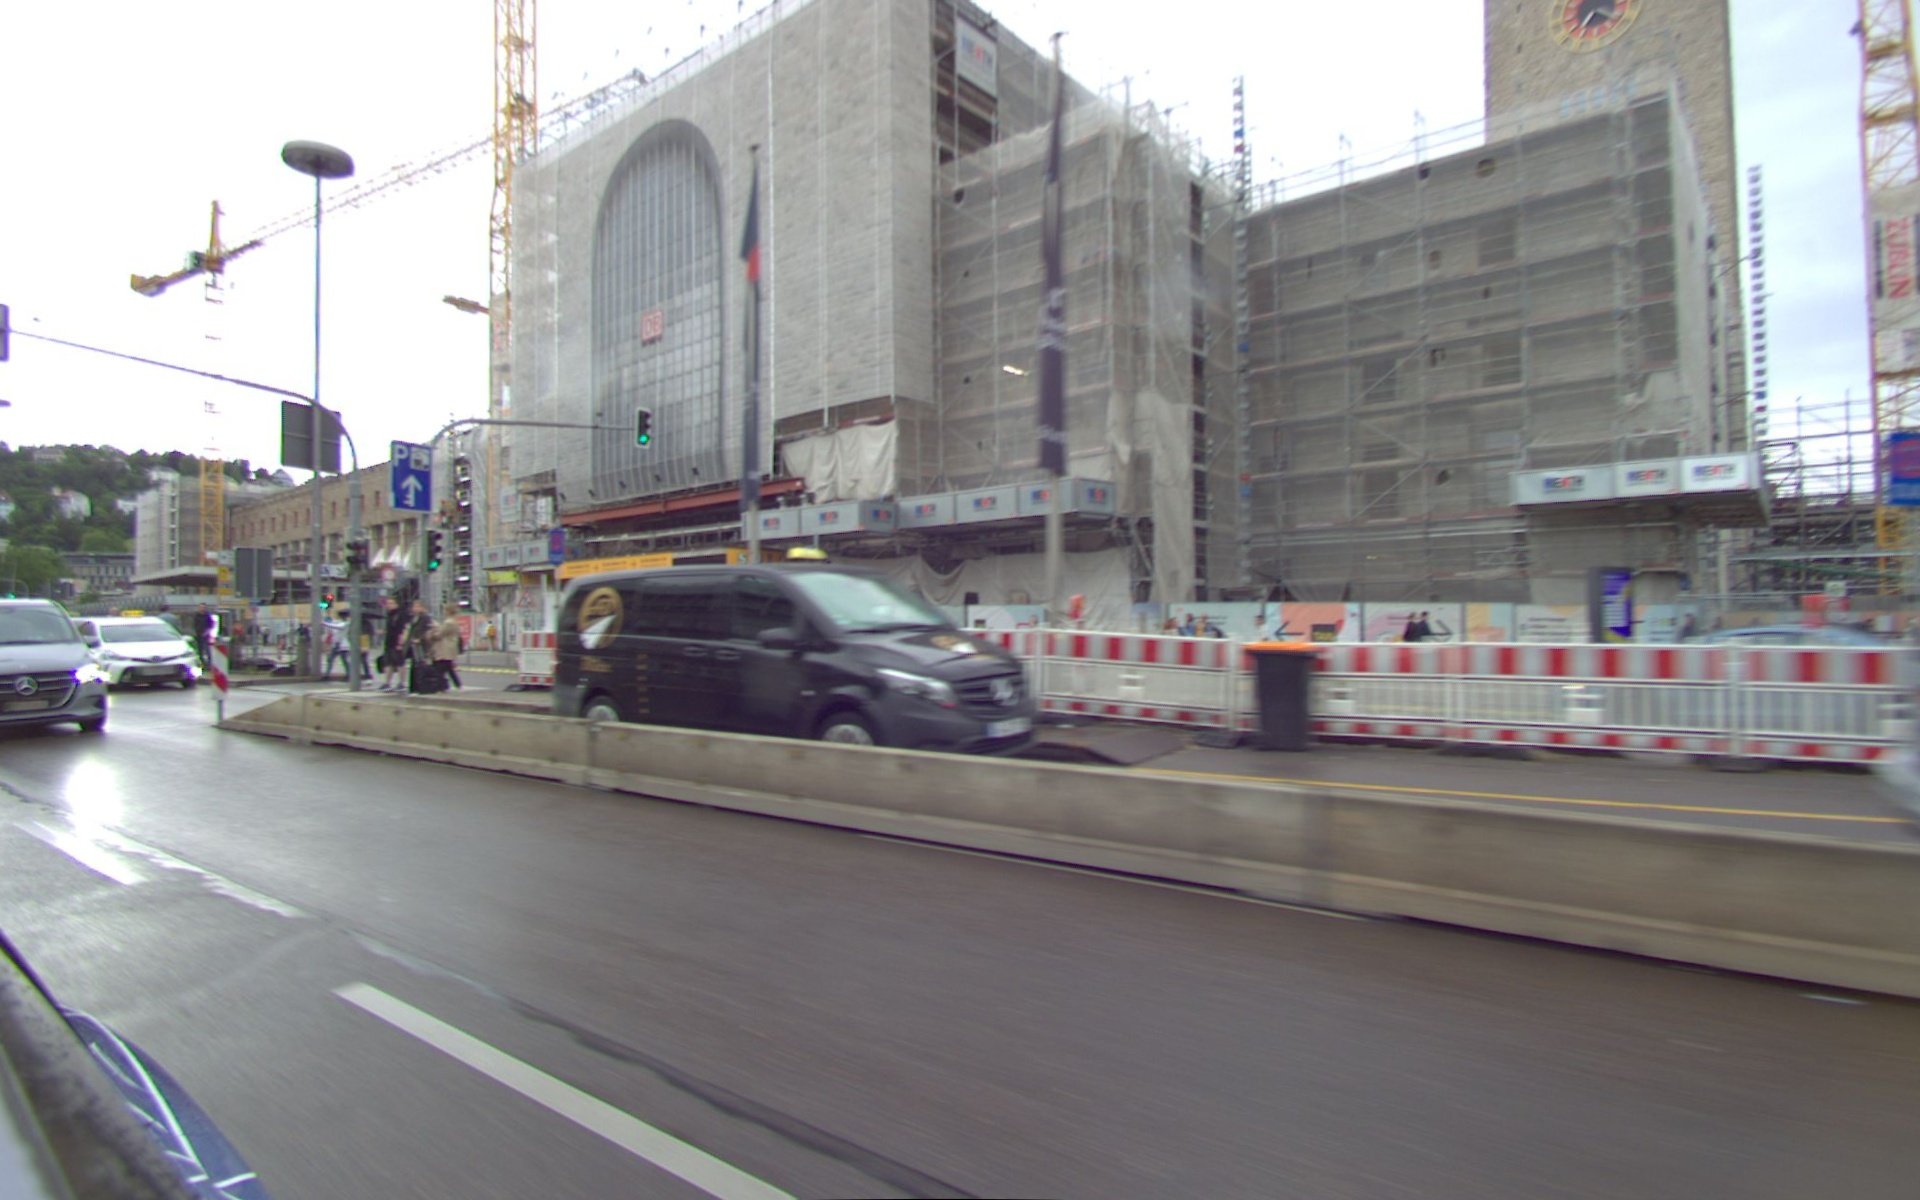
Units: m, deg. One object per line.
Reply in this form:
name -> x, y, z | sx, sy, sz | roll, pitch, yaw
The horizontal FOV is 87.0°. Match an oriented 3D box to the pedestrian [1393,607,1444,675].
pedestrian -> 12.978, 1.154, 28.671 | 0.822, 1.896, 1.031 | 1, -1, -20

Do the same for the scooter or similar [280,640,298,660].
scooter or similar -> -38.679, 2.871, 58.339 | 0.452, 1.074, 1.243 | -1, -1, -15

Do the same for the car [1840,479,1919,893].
car -> 6.374, 0.314, 3.551 | 4.764, 1.709, 1.807 | -1, 0, 36

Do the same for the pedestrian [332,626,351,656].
pedestrian -> -39.380, 2.618, 64.434 | 1.058, 1.855, 0.830 | -2, -1, 44

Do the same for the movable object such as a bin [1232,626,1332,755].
movable object such as a bin -> 3.159, 0.856, 9.921 | 0.765, 1.170, 0.665 | -1, 1, 33

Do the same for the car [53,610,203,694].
car -> -18.773, 1.114, 22.771 | 4.662, 1.698, 1.768 | -2, -2, 40

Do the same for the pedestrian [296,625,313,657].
pedestrian -> -39.160, 2.451, 60.490 | 0.692, 1.855, 0.881 | -1, -1, -21

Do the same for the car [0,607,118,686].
car -> -23.846, 1.182, 26.686 | 4.605, 1.906, 1.696 | -2, -2, 40

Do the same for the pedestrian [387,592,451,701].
pedestrian -> -9.703, 0.819, 18.158 | 0.990, 1.901, 0.685 | 0, -2, -28

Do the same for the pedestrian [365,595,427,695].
pedestrian -> -10.996, 0.872, 19.736 | 0.688, 1.901, 0.824 | -1, -2, 30

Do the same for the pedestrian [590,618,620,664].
pedestrian -> -14.616, 1.685, 41.641 | 0.936, 1.855, 0.810 | -2, -2, 39

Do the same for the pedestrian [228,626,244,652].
pedestrian -> -56.458, 3.054, 78.925 | 0.863, 1.954, 0.735 | -2, 1, 37

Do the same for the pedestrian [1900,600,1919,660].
pedestrian -> 30.854, 0.969, 32.468 | 0.648, 1.896, 0.807 | 1, -2, -21

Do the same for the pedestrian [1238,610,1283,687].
pedestrian -> 7.571, 1.211, 25.544 | 0.705, 1.896, 0.863 | 1, -2, -21

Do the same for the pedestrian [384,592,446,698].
pedestrian -> -10.146, 0.824, 18.864 | 0.990, 1.901, 0.820 | 0, -2, -28

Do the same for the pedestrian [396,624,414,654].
pedestrian -> -30.954, 2.173, 56.442 | 0.838, 1.626, 0.669 | -2, -1, 42

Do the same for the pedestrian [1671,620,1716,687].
pedestrian -> 20.992, 1.520, 28.959 | 0.651, 1.896, 0.804 | 1, -2, -21

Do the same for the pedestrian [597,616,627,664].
pedestrian -> -13.825, 1.578, 40.237 | 0.992, 1.855, 0.719 | -2, -2, 39

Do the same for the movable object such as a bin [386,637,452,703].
movable object such as a bin -> -9.347, 1.200, 17.503 | 0.990, 1.084, 0.751 | 0, -2, -28

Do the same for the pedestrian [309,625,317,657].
pedestrian -> -38.449, 2.443, 60.136 | 0.334, 1.855, 0.510 | 0, -1, -34

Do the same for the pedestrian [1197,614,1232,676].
pedestrian -> 7.040, 1.222, 28.011 | 0.826, 1.676, 1.025 | 0, -1, 9

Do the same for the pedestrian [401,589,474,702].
pedestrian -> -9.094, 0.780, 17.616 | 1.027, 1.896, 0.824 | -2, -2, 42

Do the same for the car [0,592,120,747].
car -> -13.913, 0.920, 14.407 | 5.244, 1.918, 1.974 | -2, 0, 39

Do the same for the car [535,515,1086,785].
car -> -1.552, 0.370, 9.267 | 5.052, 1.859, 1.976 | -1, 0, 36

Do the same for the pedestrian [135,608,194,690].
pedestrian -> -20.199, 1.233, 25.728 | 0.822, 2.029, 1.030 | -1, -1, -13

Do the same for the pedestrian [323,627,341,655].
pedestrian -> -41.596, 2.702, 67.013 | 0.851, 1.855, 0.794 | -2, -1, 44

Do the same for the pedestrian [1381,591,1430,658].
pedestrian -> 12.984, 0.713, 29.531 | 0.822, 1.896, 1.031 | 1, -1, -21

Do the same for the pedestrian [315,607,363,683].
pedestrian -> -14.087, 1.012, 22.959 | 0.836, 1.677, 0.706 | -2, -2, 39

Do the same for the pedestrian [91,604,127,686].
pedestrian -> -21.426, 1.117, 25.476 | 0.889, 2.029, 0.522 | -2, -2, 37

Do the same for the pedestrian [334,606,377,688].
pedestrian -> -13.199, 1.024, 22.090 | 0.756, 1.748, 0.577 | -2, -2, 39

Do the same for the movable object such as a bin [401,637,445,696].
movable object such as a bin -> -10.285, 1.262, 19.397 | 0.732, 1.084, 0.751 | 0, -2, -28

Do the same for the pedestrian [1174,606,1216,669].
pedestrian -> 7.135, 1.128, 30.738 | 0.822, 1.896, 1.031 | 1, -1, -19
